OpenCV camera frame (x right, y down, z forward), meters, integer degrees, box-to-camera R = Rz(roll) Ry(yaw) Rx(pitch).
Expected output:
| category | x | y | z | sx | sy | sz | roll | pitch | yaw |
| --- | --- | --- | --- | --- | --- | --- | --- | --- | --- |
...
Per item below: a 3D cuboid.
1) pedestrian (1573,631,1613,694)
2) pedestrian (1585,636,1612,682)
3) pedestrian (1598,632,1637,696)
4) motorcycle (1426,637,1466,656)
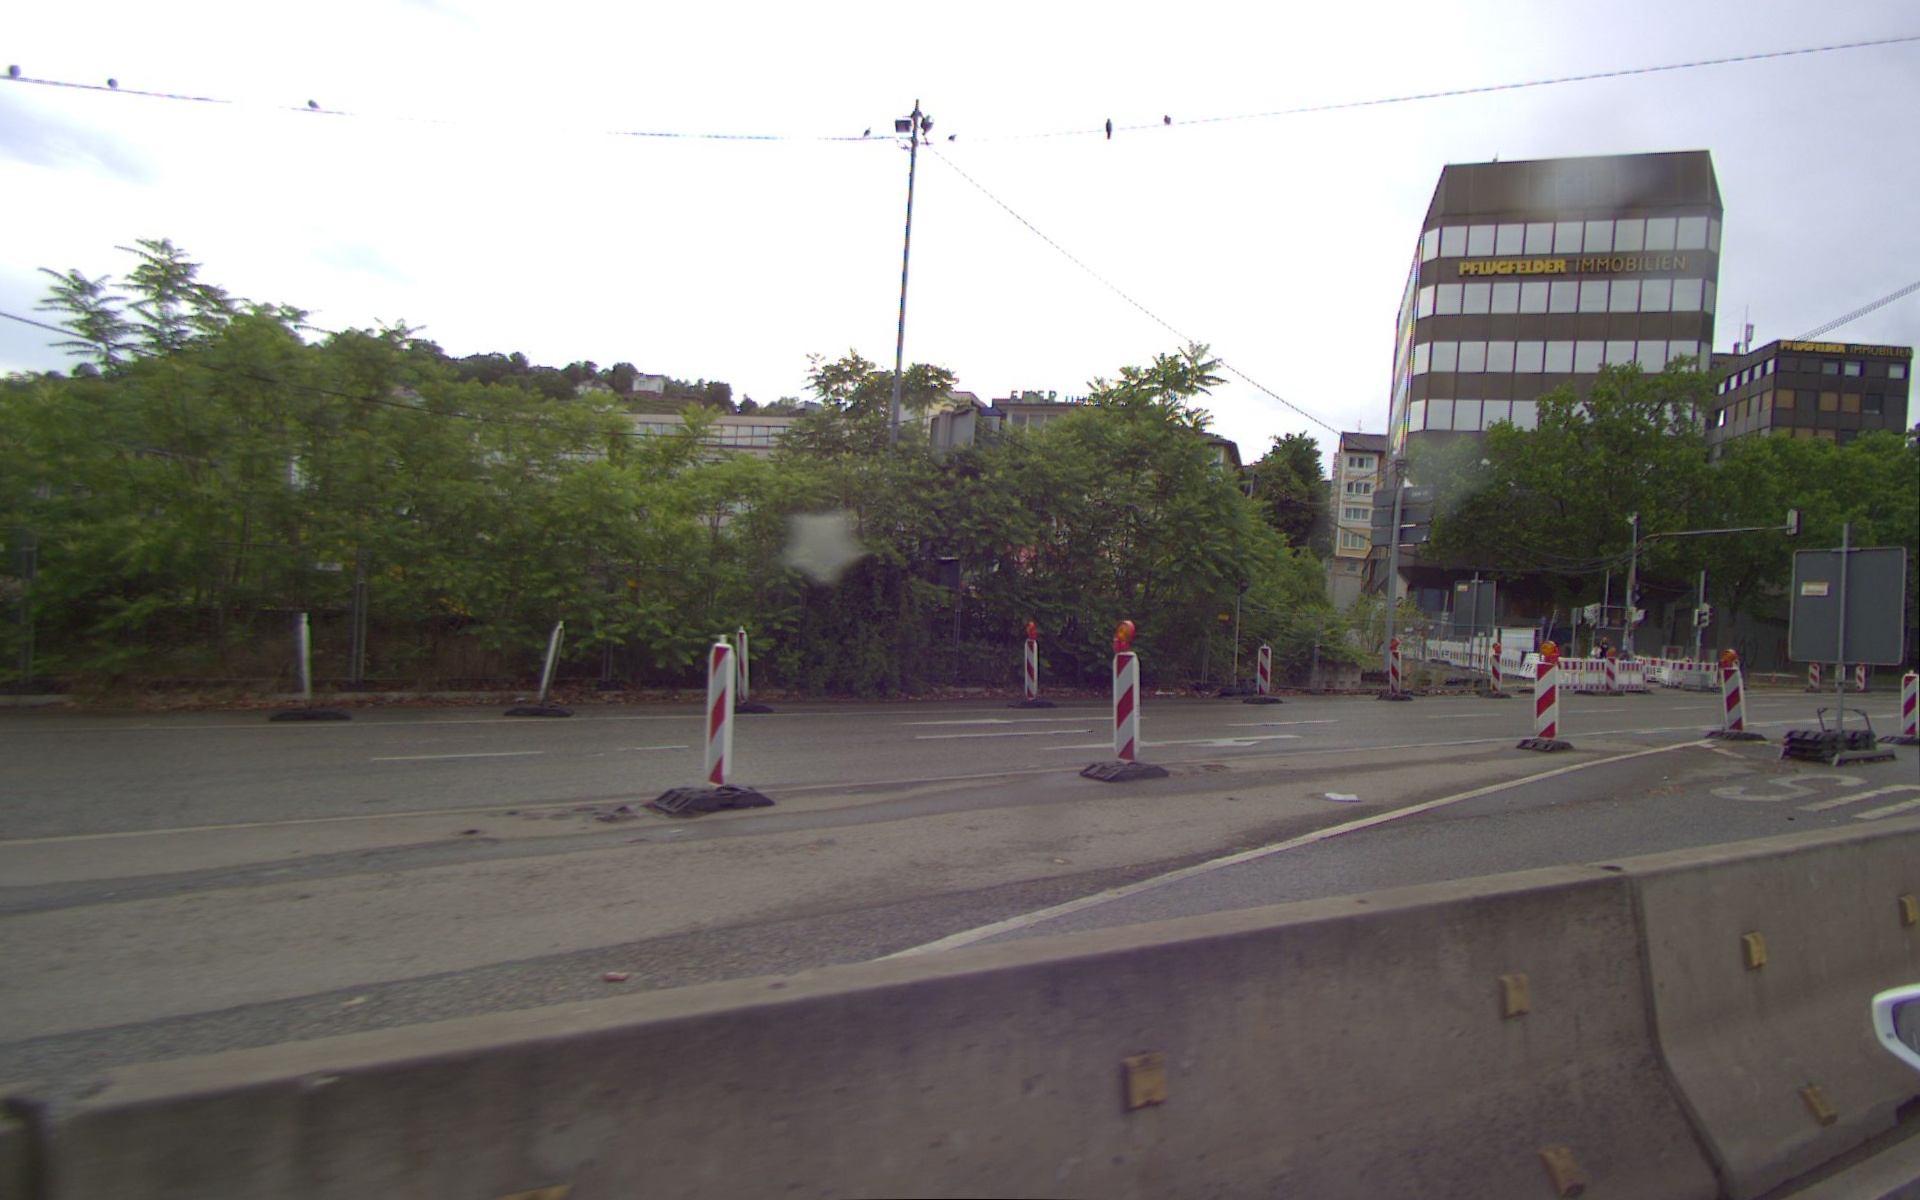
| category | x | y | z | sx | sy | sz | roll | pitch | yaw |
| --- | --- | --- | --- | --- | --- | --- | --- | --- | --- |
| pedestrian | 20.250 | 1.997 | 32.121 | 0.734 | 1.947 | 0.757 | 5 | -2 | -31 |
| pedestrian | 27.203 | 2.503 | 42.770 | 0.742 | 1.904 | 0.733 | 6 | -2 | -43 |
| pedestrian | 20.592 | 2.008 | 31.465 | 0.767 | 1.926 | 0.668 | 5 | -2 | -31 |
| motorcycle | 30.041 | 2.882 | 62.124 | 2.141 | 1.051 | 0.566 | 2 | -1 | 22 |
